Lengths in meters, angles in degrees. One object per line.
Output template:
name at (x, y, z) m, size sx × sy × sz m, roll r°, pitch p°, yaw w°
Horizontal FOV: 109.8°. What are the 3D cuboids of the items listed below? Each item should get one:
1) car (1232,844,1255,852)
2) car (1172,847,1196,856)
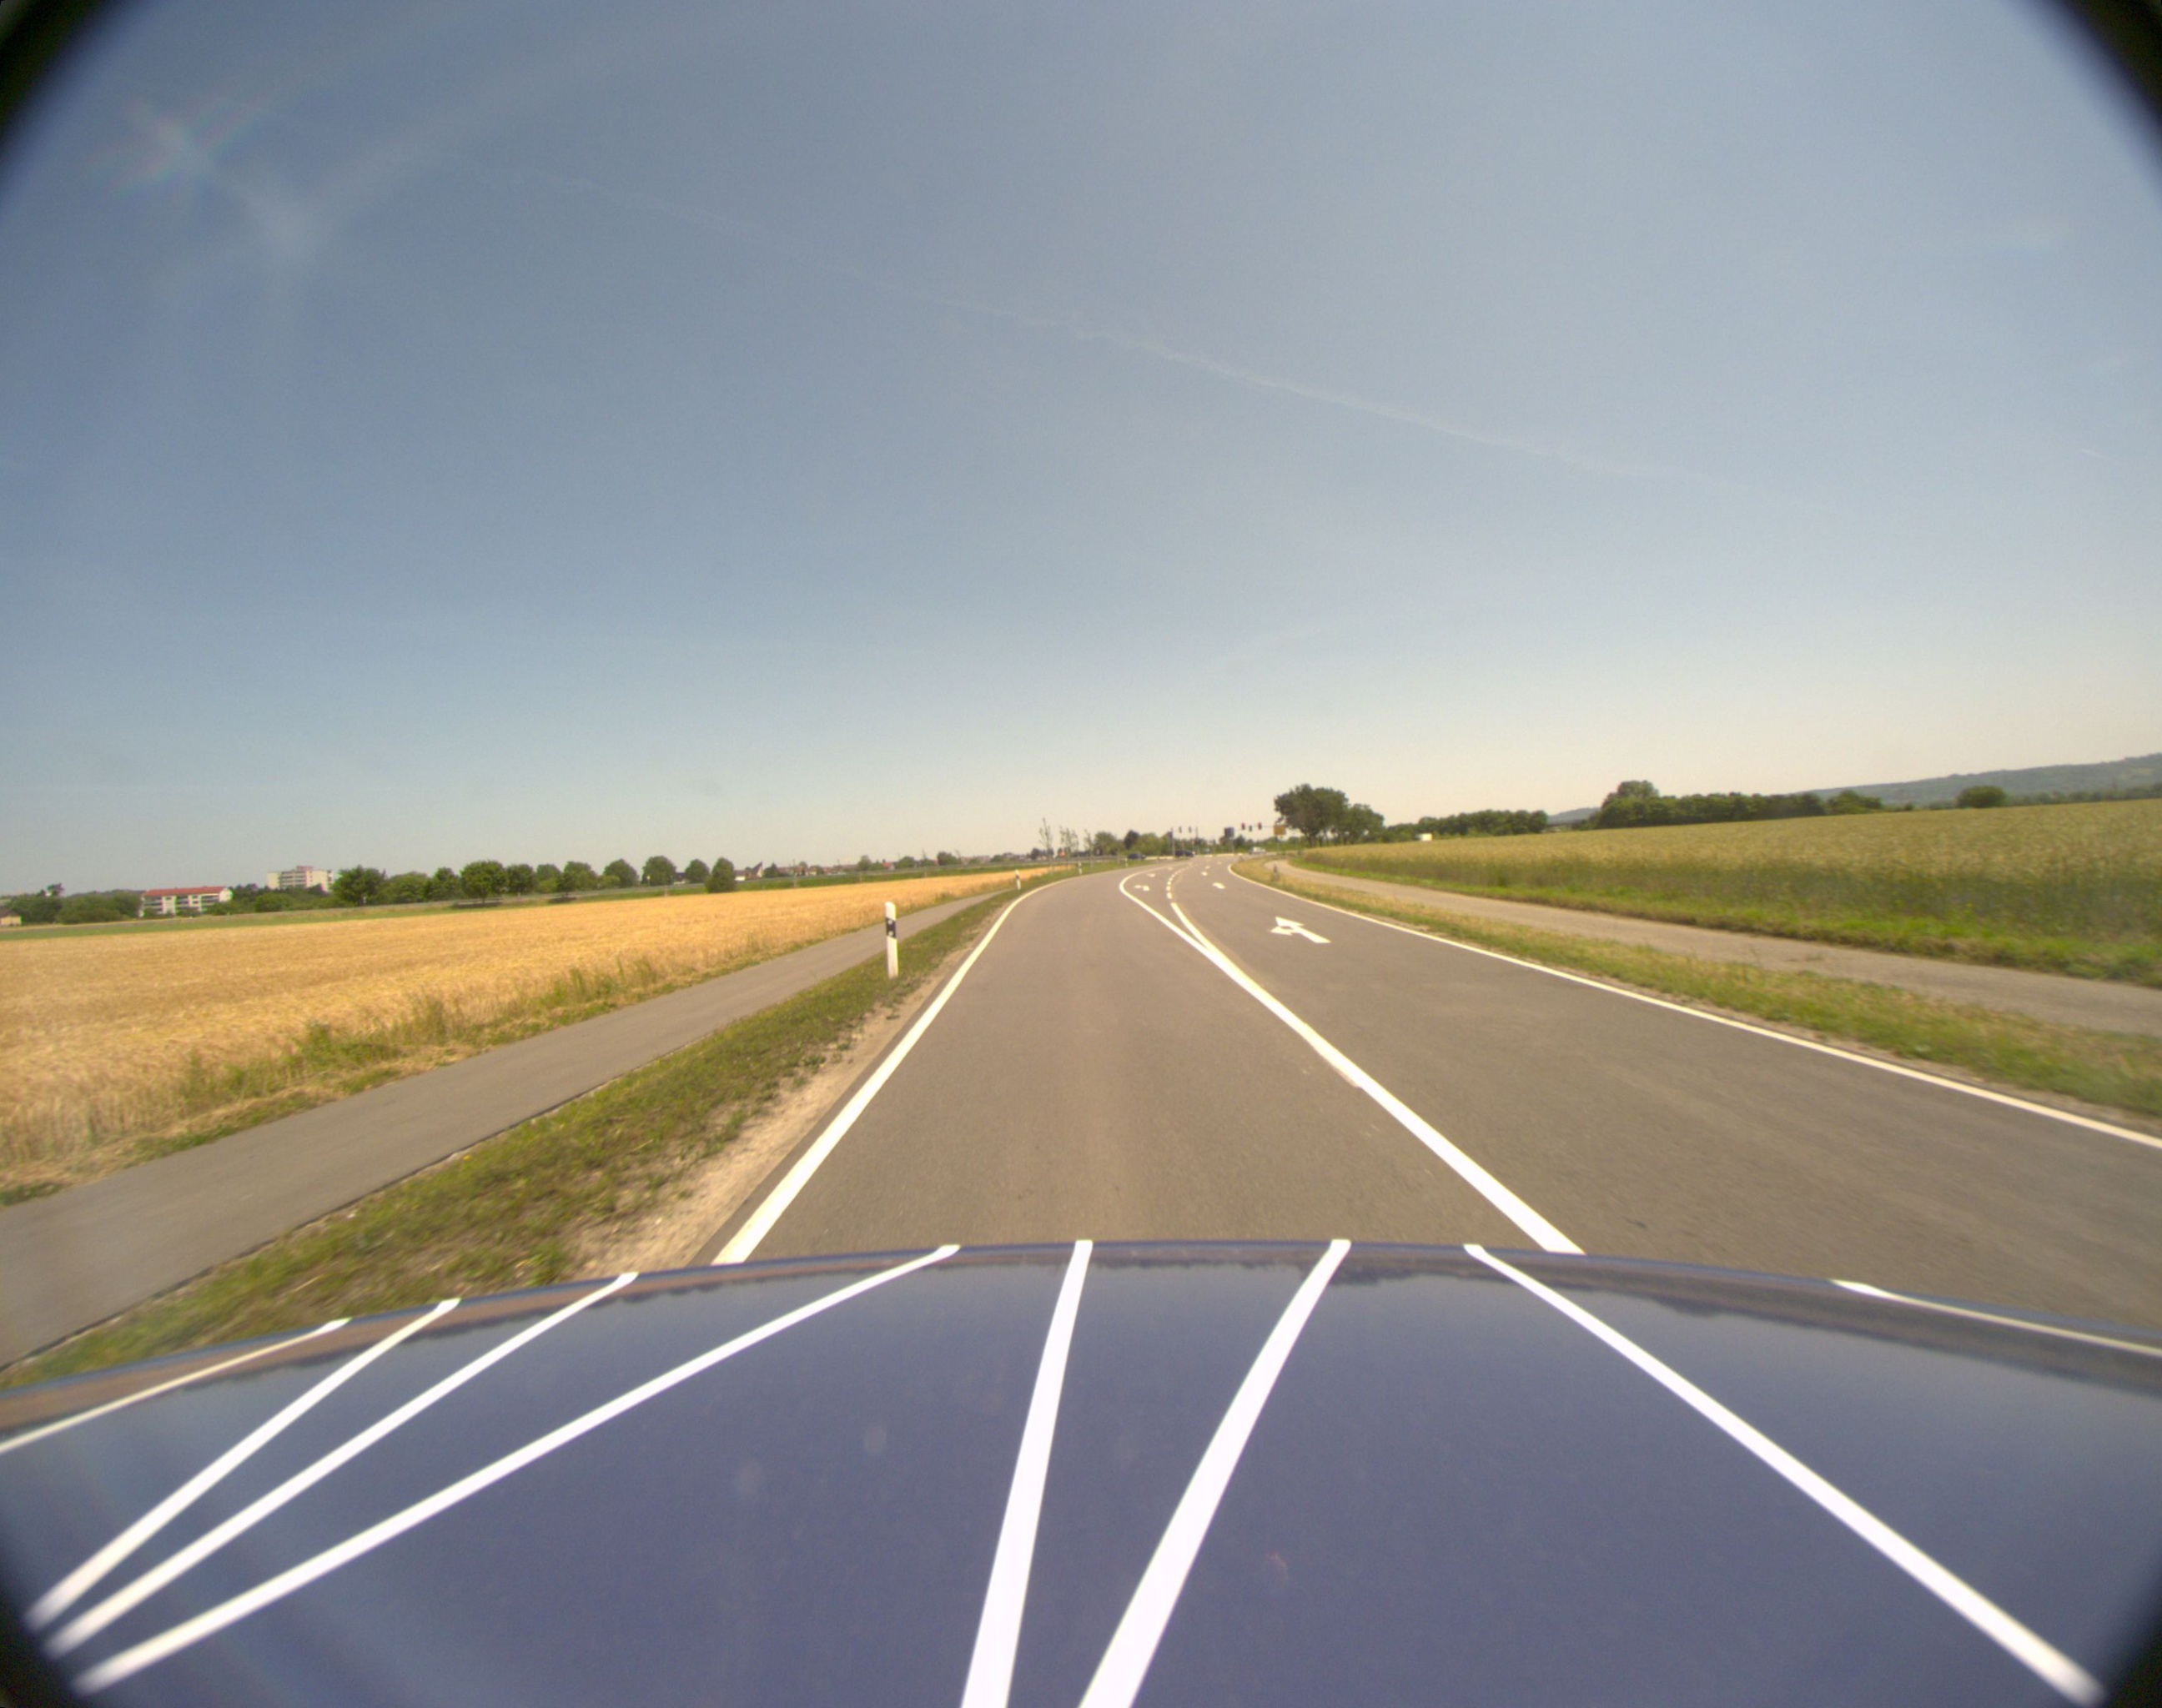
car at (33.204, -1.244, 155.231) m, size 4.153 × 1.451 × 1.659 m, roll -3°, pitch 1°, yaw -12°
car at (20.811, -0.546, 153.640) m, size 4.516 × 1.631 × 1.816 m, roll -2°, pitch 2°, yaw 23°
